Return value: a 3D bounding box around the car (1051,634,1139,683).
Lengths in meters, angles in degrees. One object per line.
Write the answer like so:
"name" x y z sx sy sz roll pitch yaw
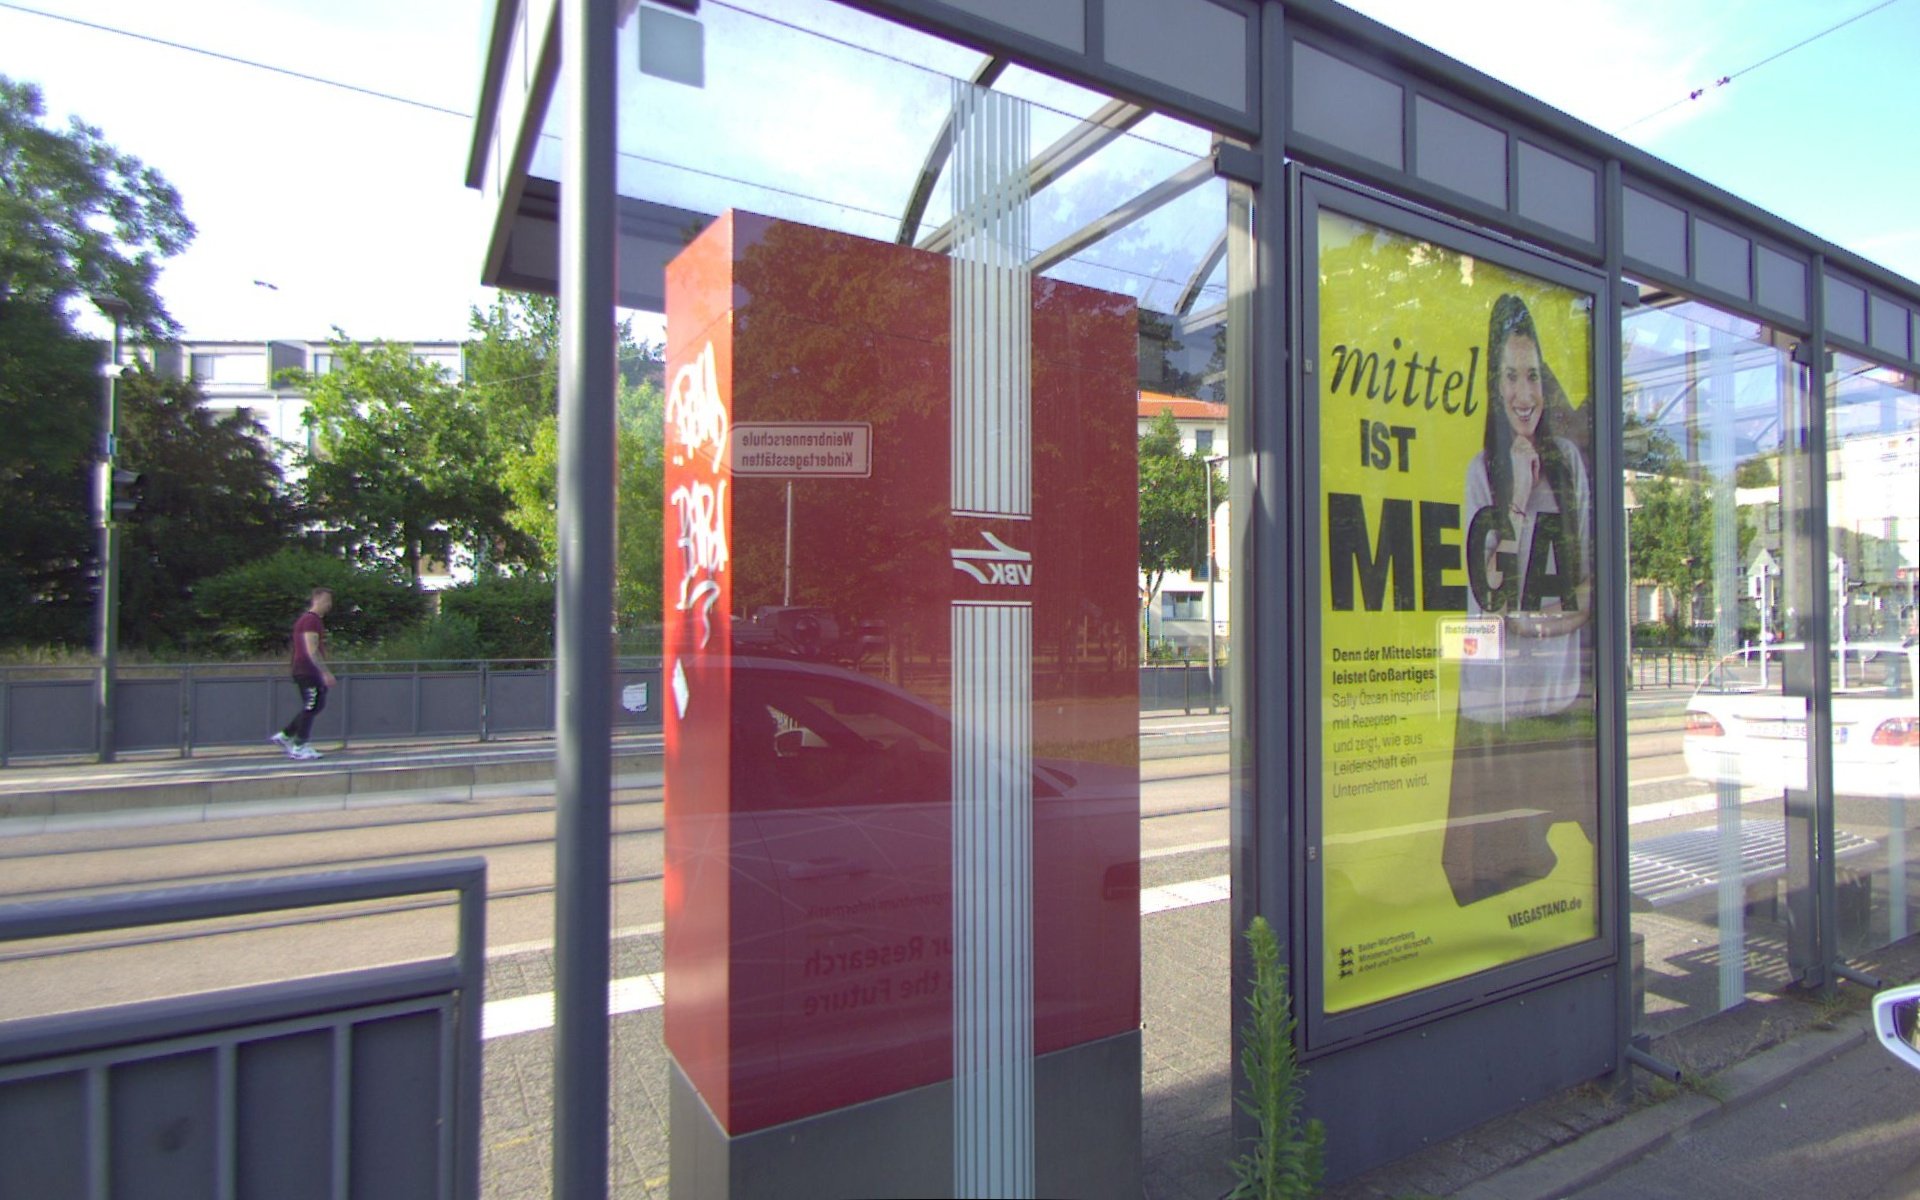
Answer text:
"car" 4.354 1.873 32.980 1.815 1.505 3.995 0 -2 -9

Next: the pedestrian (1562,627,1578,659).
"pedestrian" 29.823 2.098 49.106 0.540 1.520 0.437 0 -2 -15

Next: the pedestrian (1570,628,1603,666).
"pedestrian" 25.742 1.927 41.276 0.768 1.572 0.831 0 -2 -8

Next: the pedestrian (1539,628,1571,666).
"pedestrian" 24.965 1.959 42.161 0.768 1.572 0.831 0 -2 -8

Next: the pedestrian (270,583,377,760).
"pedestrian" -6.428 0.719 10.188 0.867 1.706 0.551 1 -5 -30

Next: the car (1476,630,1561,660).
"car" 29.018 2.301 52.356 1.732 1.327 4.111 2 0 -8
